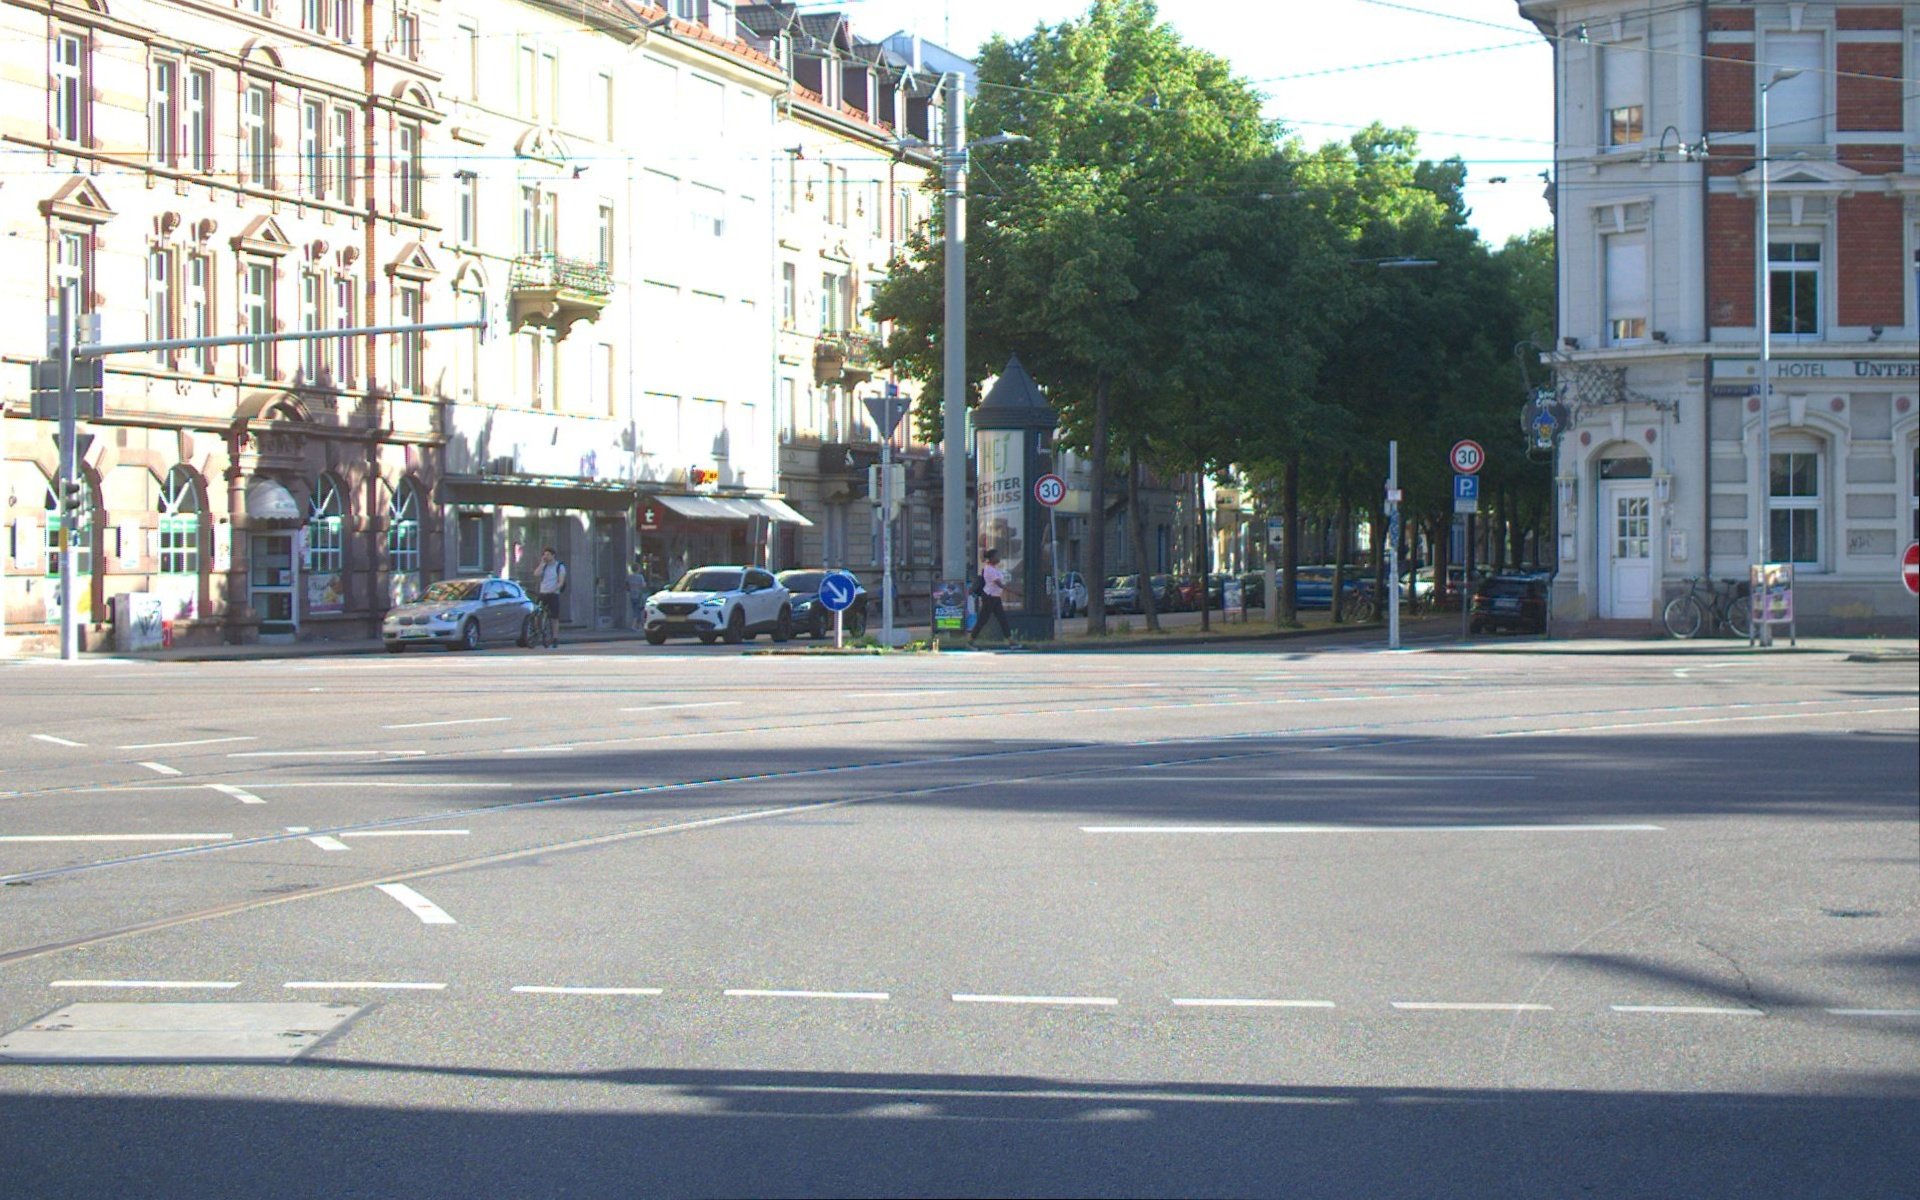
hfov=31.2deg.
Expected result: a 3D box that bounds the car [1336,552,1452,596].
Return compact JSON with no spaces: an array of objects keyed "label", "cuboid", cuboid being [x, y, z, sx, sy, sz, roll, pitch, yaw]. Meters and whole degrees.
[{"label":"car","cuboid":[16.866,-1.017,133.630,3.993,1.700,1.997,0,1,30]}]

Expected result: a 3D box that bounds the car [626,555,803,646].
[{"label":"car","cuboid":[-4.763,-0.019,67.333,1.995,1.678,4.387,0,1,17]}]

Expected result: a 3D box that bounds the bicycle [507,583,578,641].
[{"label":"bicycle","cuboid":[-7.888,0.216,65.019,0.680,1.062,2.124,0,1,12]}]

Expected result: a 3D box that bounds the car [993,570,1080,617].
[{"label":"car","cuboid":[2.489,-0.224,110.970,1.995,1.481,3.998,0,1,14]}]

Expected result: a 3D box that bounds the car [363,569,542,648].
[{"label":"car","cuboid":[-9.852,0.148,67.058,1.900,1.450,3.997,0,1,17]}]

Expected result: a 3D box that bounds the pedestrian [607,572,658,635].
[{"label":"pedestrian","cuboid":[-8.029,0.078,84.342,0.929,1.530,1.136,0,1,14]}]

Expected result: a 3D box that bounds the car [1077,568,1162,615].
[{"label":"car","cuboid":[5.710,-0.301,122.671,1.995,1.607,4.387,0,1,17]}]

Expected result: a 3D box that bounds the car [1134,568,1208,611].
[{"label":"car","cuboid":[8.037,-0.421,130.461,1.839,1.547,4.387,0,1,17]}]

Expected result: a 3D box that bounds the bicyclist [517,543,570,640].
[{"label":"bicyclist","cuboid":[-7.878,-0.164,65.054,0.679,1.814,1.070,0,1,12]}]

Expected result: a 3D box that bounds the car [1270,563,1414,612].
[{"label":"car","cuboid":[12.825,-0.443,115.452,4.382,1.606,1.997,0,1,27]}]

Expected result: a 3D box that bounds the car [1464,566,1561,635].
[{"label":"car","cuboid":[13.270,-0.014,82.447,1.995,1.579,3.998,0,1,14]}]

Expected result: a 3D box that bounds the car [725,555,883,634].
[{"label":"car","cuboid":[-3.317,-0.137,73.846,1.995,1.606,4.387,0,1,17]}]

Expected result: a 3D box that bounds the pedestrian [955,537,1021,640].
[{"label":"pedestrian","cuboid":[0.481,-0.198,58.566,1.046,1.738,0.808,0,1,6]}]

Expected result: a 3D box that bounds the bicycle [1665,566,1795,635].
[{"label":"bicycle","cuboid":[12.857,0.006,57.396,2.085,1.120,0.367,1,0,-4]}]

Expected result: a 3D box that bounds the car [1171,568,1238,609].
[{"label":"car","cuboid":[9.704,-0.470,136.338,1.766,1.544,4.387,0,1,16]}]
